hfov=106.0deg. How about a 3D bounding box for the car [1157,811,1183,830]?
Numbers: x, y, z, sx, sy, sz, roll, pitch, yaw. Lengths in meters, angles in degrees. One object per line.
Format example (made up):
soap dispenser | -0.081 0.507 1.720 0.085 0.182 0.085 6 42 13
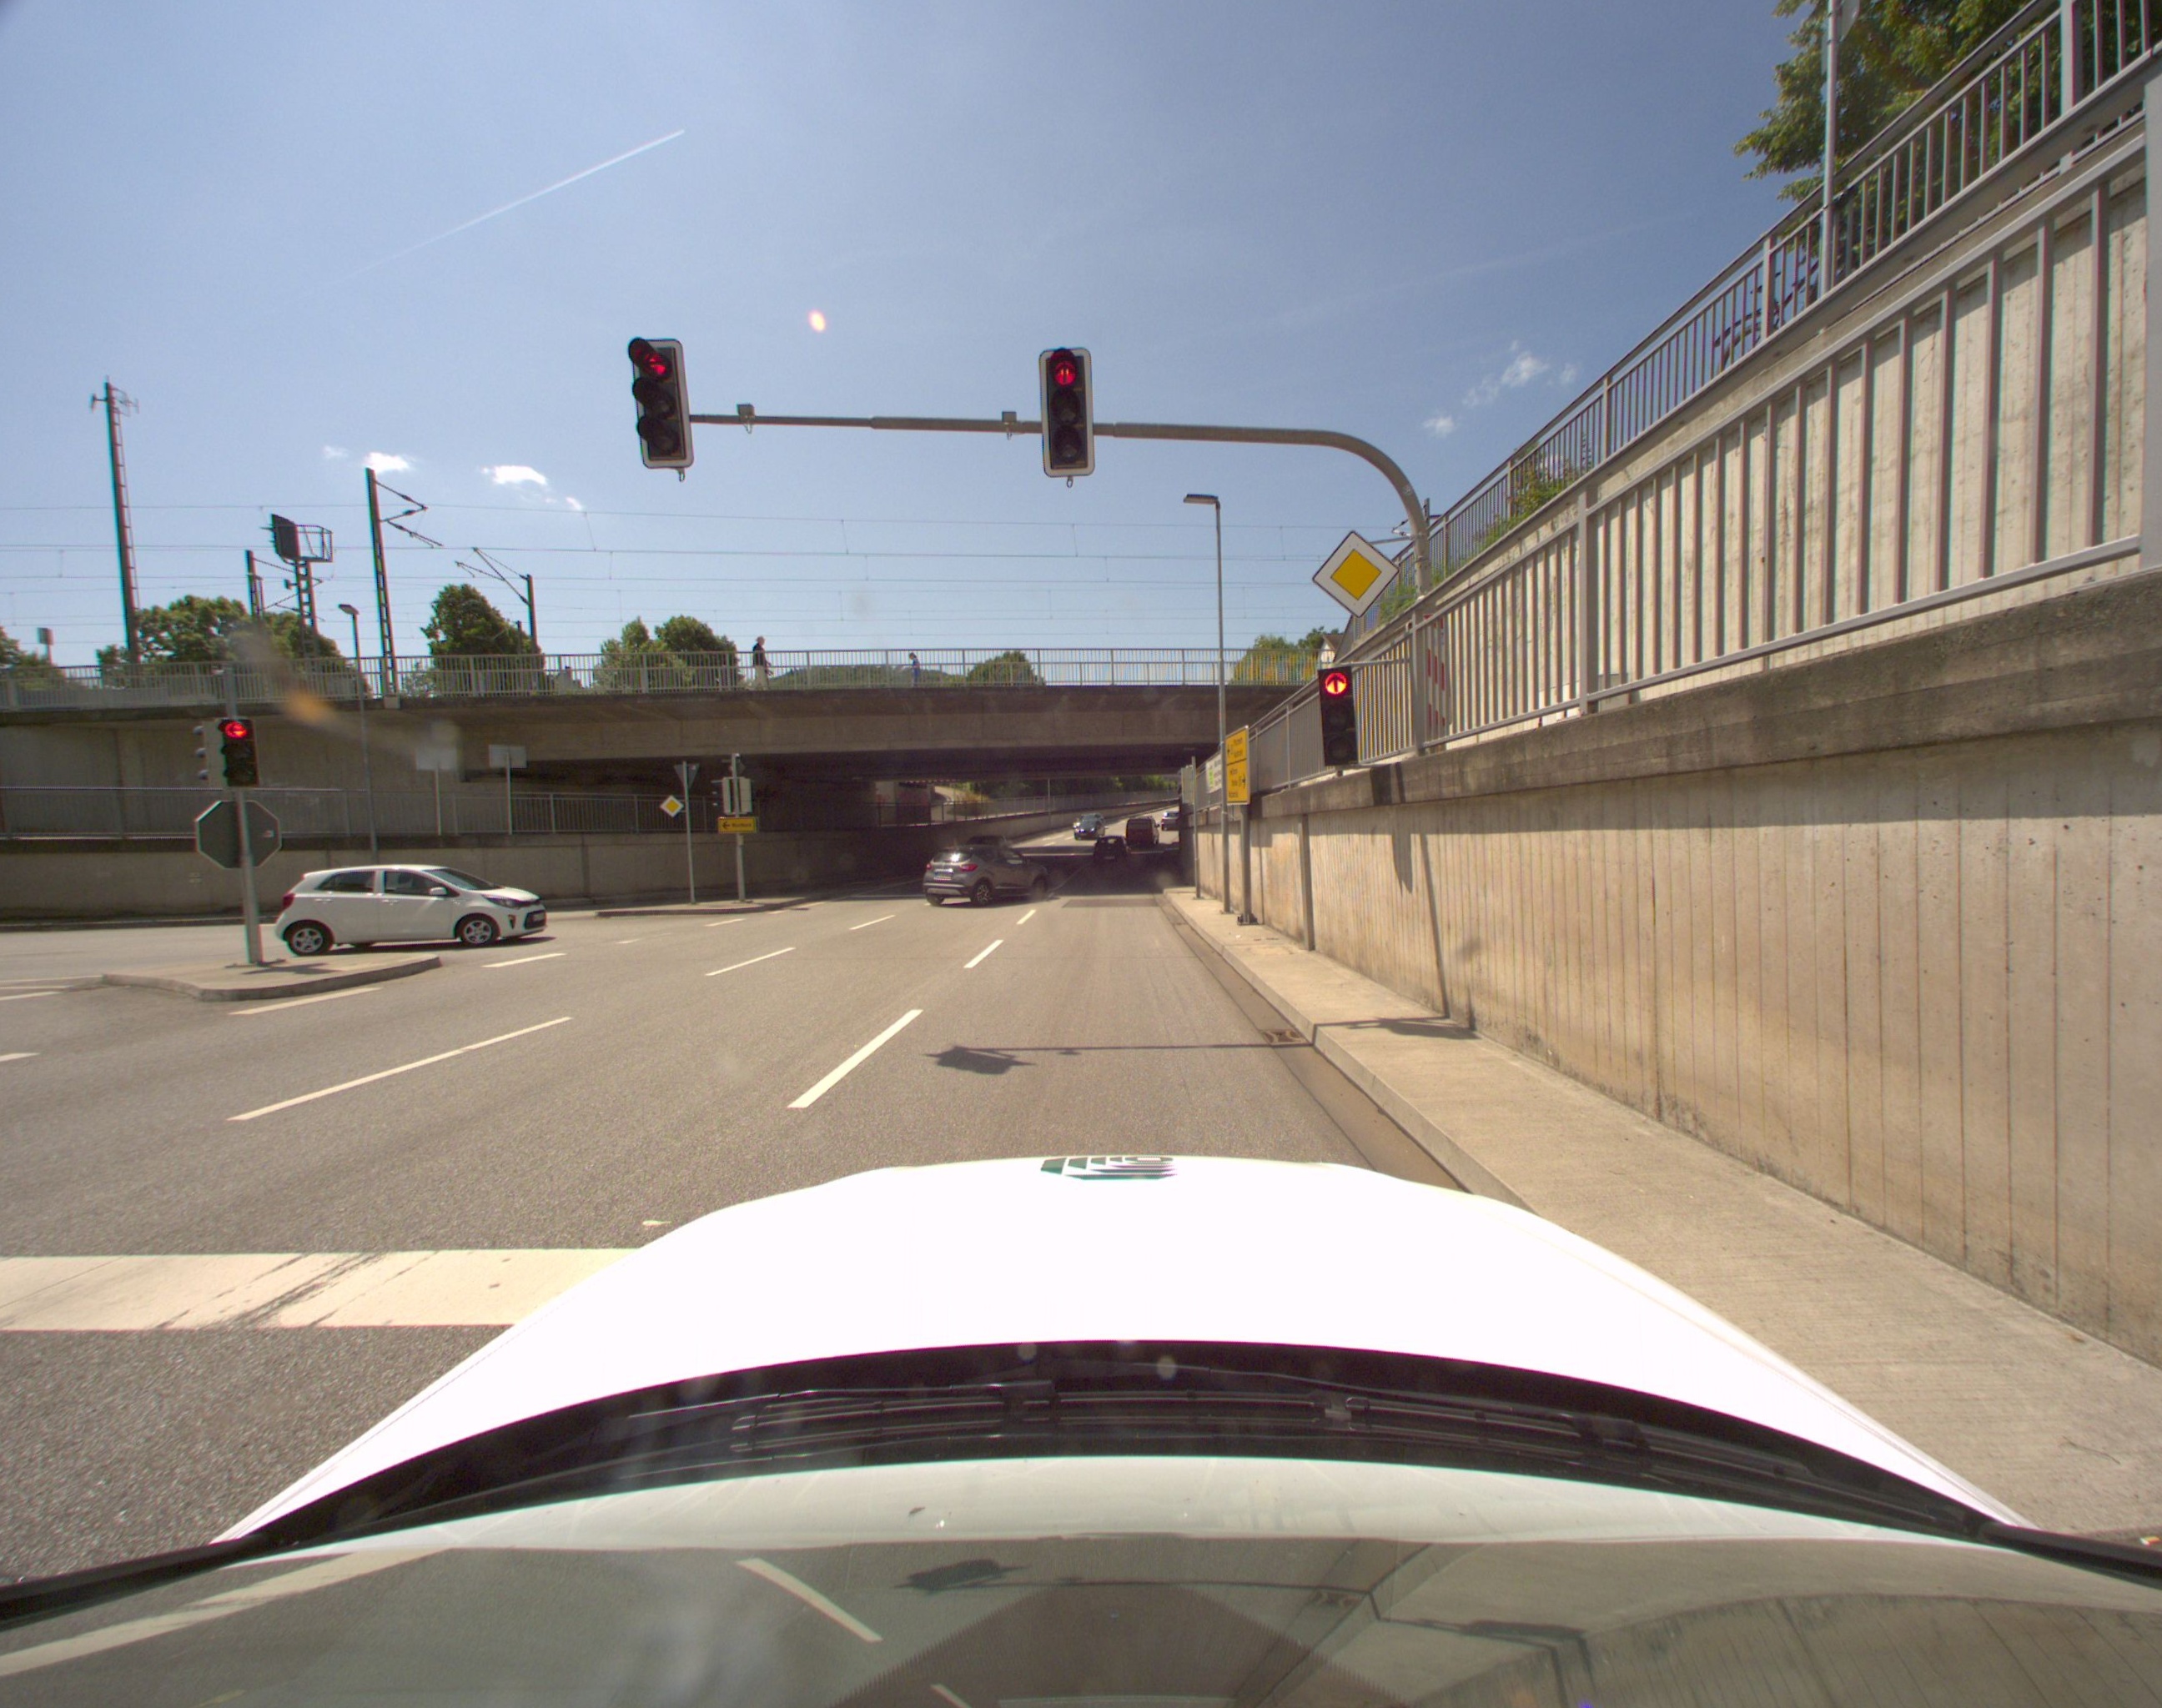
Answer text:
car | 7.662 -2.876 70.009 1.792 1.617 4.015 -1 2 13

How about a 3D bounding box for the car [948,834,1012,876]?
car | -4.349 -0.004 35.837 1.984 1.627 4.006 -1 2 4

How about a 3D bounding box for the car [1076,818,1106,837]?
car | 0.814 -2.062 62.782 1.772 1.436 4.009 -1 2 7

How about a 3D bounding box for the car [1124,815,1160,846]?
car | 4.166 -1.617 55.217 1.861 1.932 4.734 -1 2 11

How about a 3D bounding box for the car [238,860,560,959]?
car | -11.946 0.916 14.588 3.993 1.420 1.723 -2 2 -15

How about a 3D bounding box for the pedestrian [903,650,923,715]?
pedestrian | -5.732 -5.855 27.831 0.538 2.081 0.534 -2 0 -5

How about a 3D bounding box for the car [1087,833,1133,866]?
car | 1.485 -0.251 40.502 1.983 1.508 4.008 -1 2 6

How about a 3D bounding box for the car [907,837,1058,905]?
car | -2.597 0.375 22.404 1.974 1.588 4.026 0 3 33

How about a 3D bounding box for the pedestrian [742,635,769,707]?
pedestrian | -10.064 -5.651 25.198 0.576 2.081 0.533 -2 0 -9
